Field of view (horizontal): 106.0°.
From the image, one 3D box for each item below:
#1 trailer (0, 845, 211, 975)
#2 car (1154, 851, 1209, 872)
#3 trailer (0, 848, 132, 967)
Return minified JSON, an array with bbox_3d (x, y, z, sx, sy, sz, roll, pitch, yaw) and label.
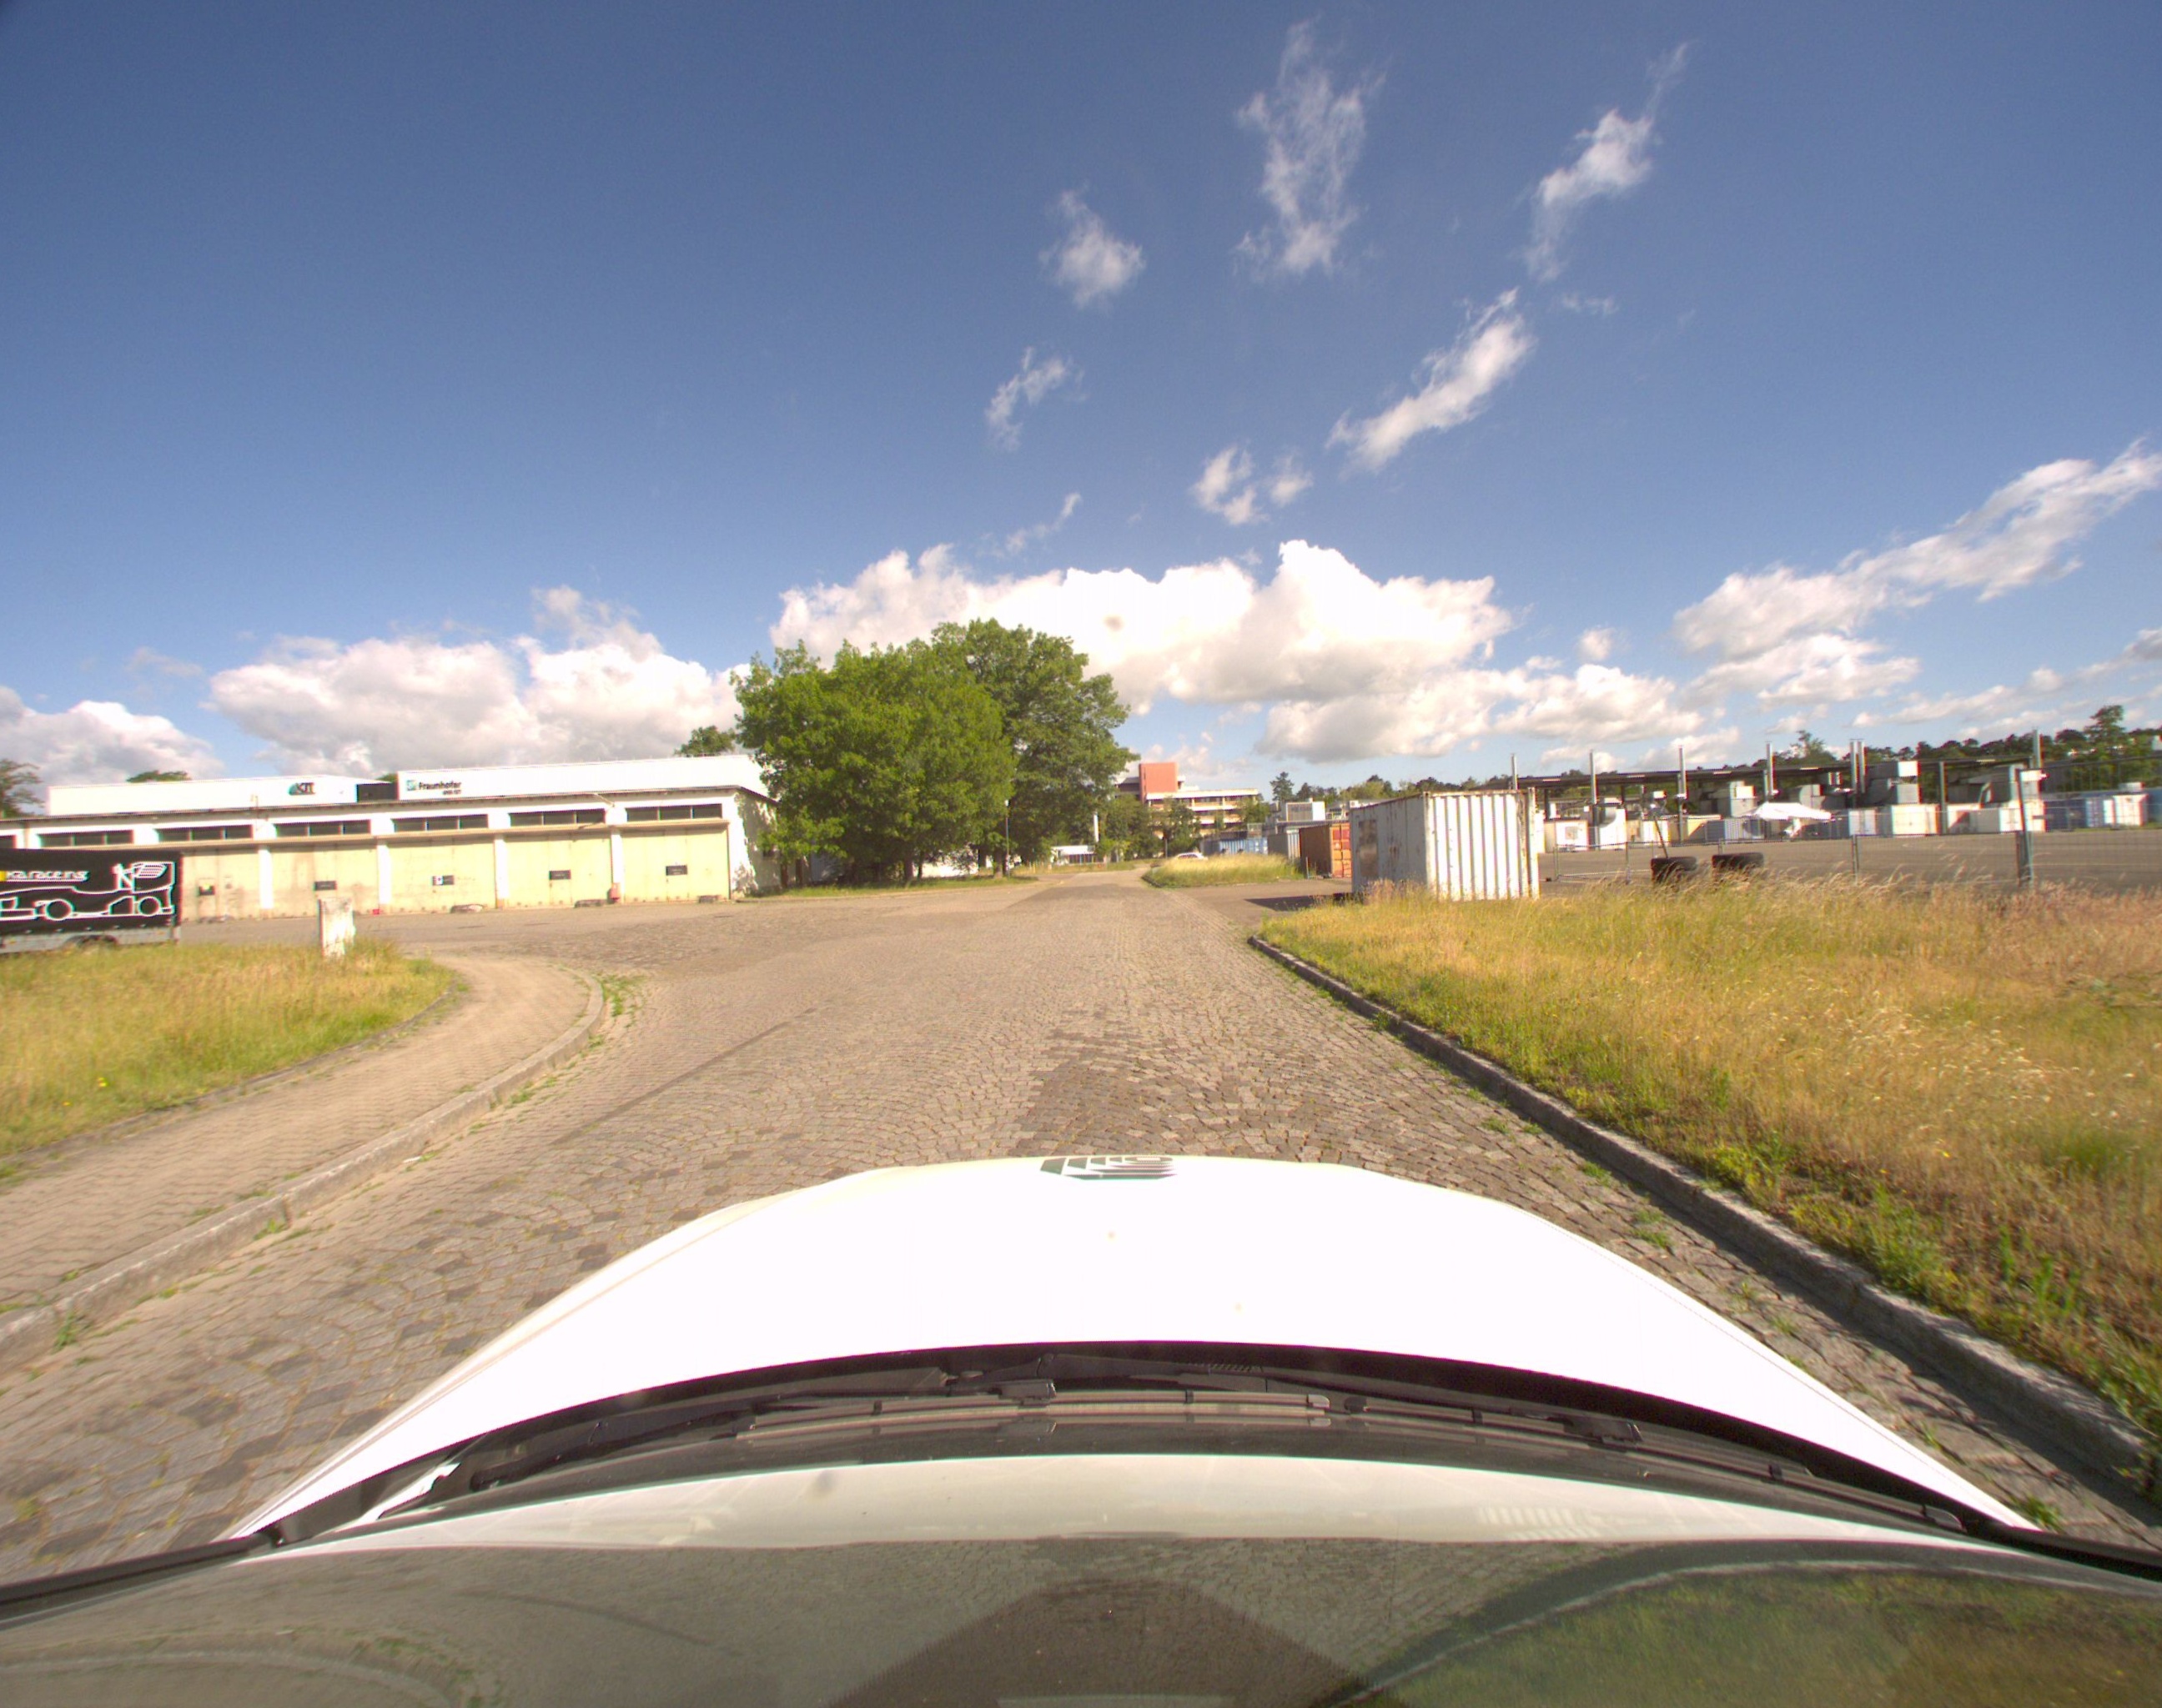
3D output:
[{"bbox_3d":[-20.072,1.041,15.339,2.121,2.298,4.674,-3,0,3],"label":"trailer"},{"bbox_3d":[8.846,0.675,71.885,4.490,1.647,2.000,-3,0,0],"label":"car"},{"bbox_3d":[-22.418,1.100,15.844,2.083,2.354,4.972,-3,0,-2],"label":"trailer"}]
